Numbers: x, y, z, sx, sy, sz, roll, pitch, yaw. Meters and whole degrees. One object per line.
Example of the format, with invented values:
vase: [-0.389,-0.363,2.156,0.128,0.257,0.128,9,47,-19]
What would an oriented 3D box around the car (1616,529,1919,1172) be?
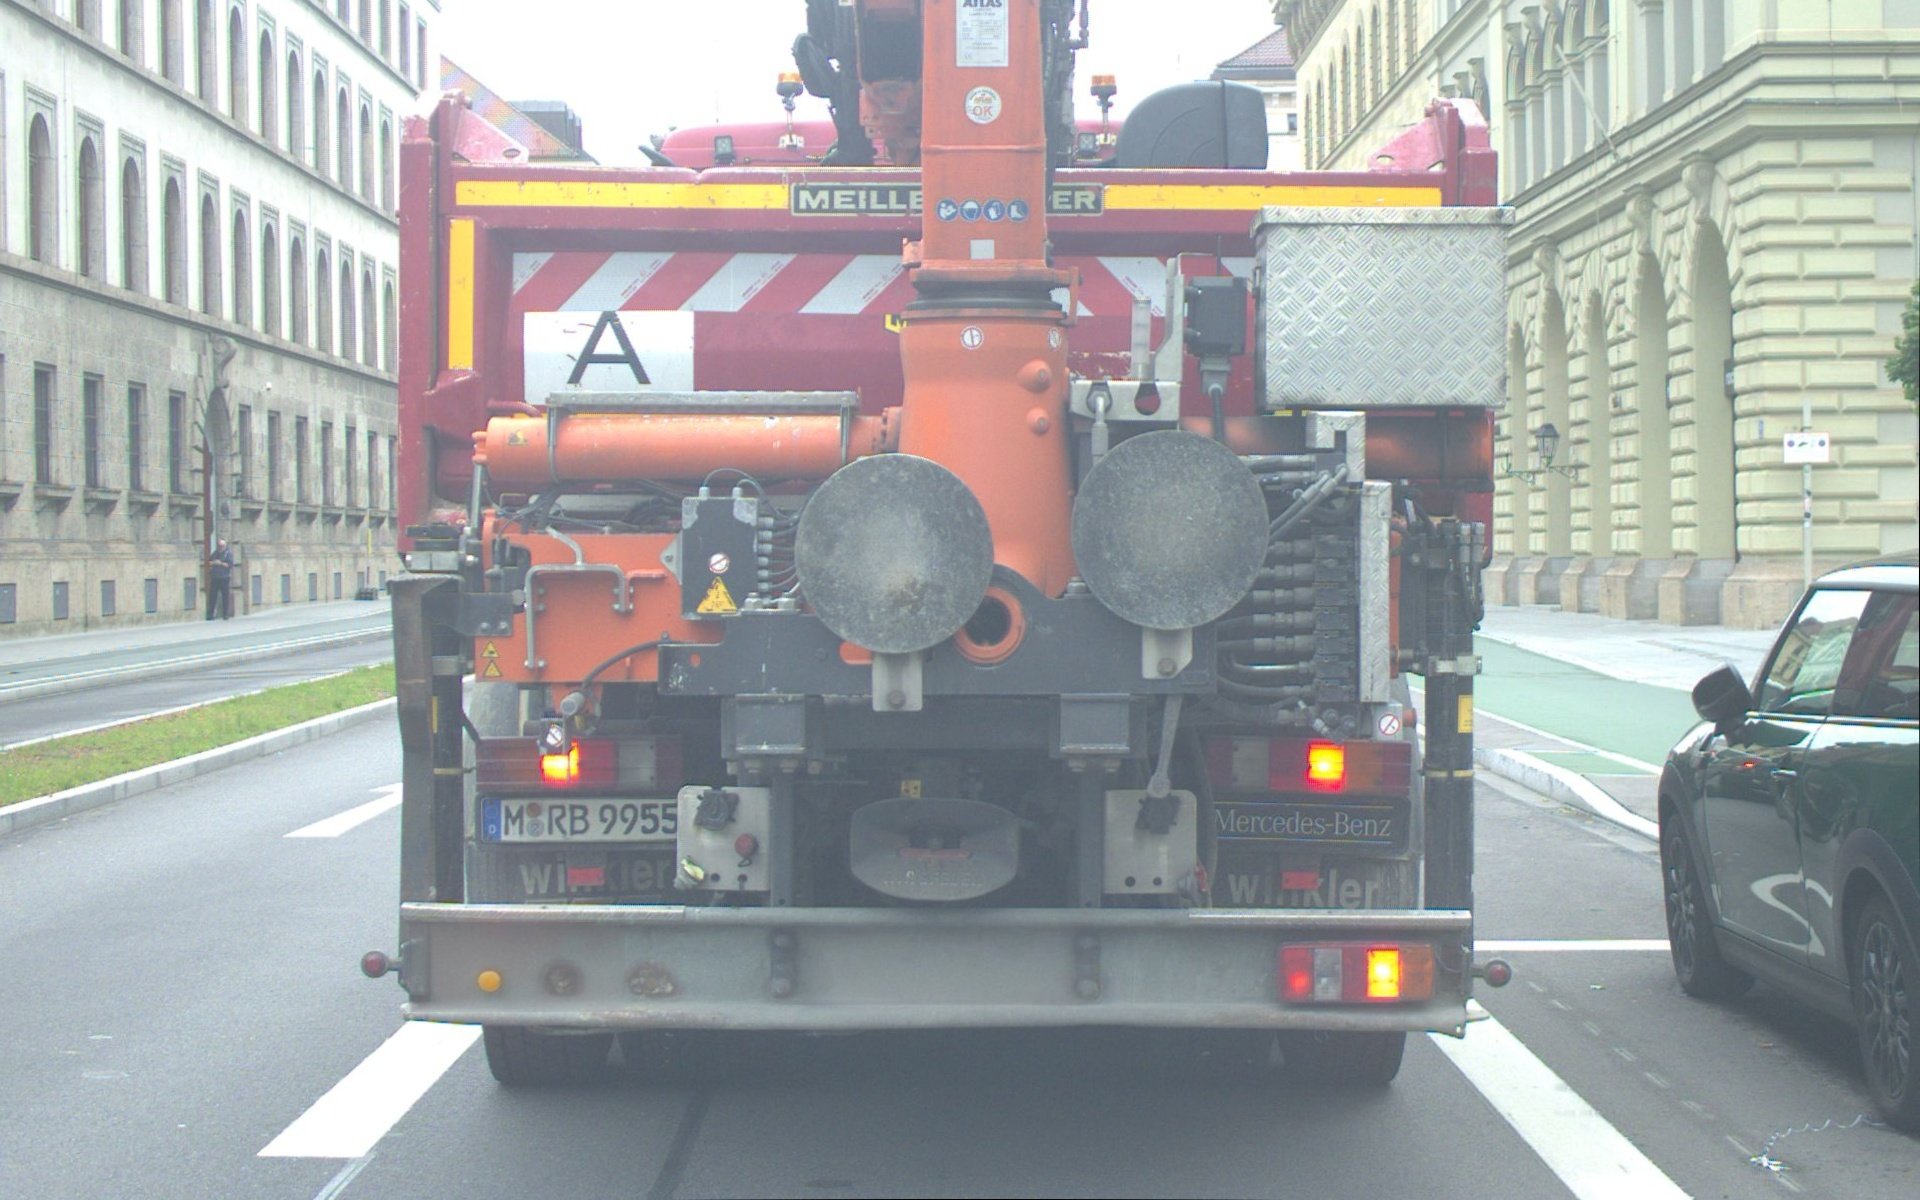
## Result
car: [3.006,0.547,9.768,1.610,1.490,3.424,-1,1,0]

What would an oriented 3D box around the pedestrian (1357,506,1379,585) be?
pedestrian: [9.555,-1.275,80.610,0.445,1.830,0.556,-1,1,1]

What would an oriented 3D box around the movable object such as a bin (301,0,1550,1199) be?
movable object such as a bin: [-0.112,-0.508,9.612,2.423,3.599,5.852,0,1,-1]

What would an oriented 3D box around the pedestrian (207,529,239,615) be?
pedestrian: [-15.835,-0.603,73.901,0.588,1.825,0.499,0,1,-1]
